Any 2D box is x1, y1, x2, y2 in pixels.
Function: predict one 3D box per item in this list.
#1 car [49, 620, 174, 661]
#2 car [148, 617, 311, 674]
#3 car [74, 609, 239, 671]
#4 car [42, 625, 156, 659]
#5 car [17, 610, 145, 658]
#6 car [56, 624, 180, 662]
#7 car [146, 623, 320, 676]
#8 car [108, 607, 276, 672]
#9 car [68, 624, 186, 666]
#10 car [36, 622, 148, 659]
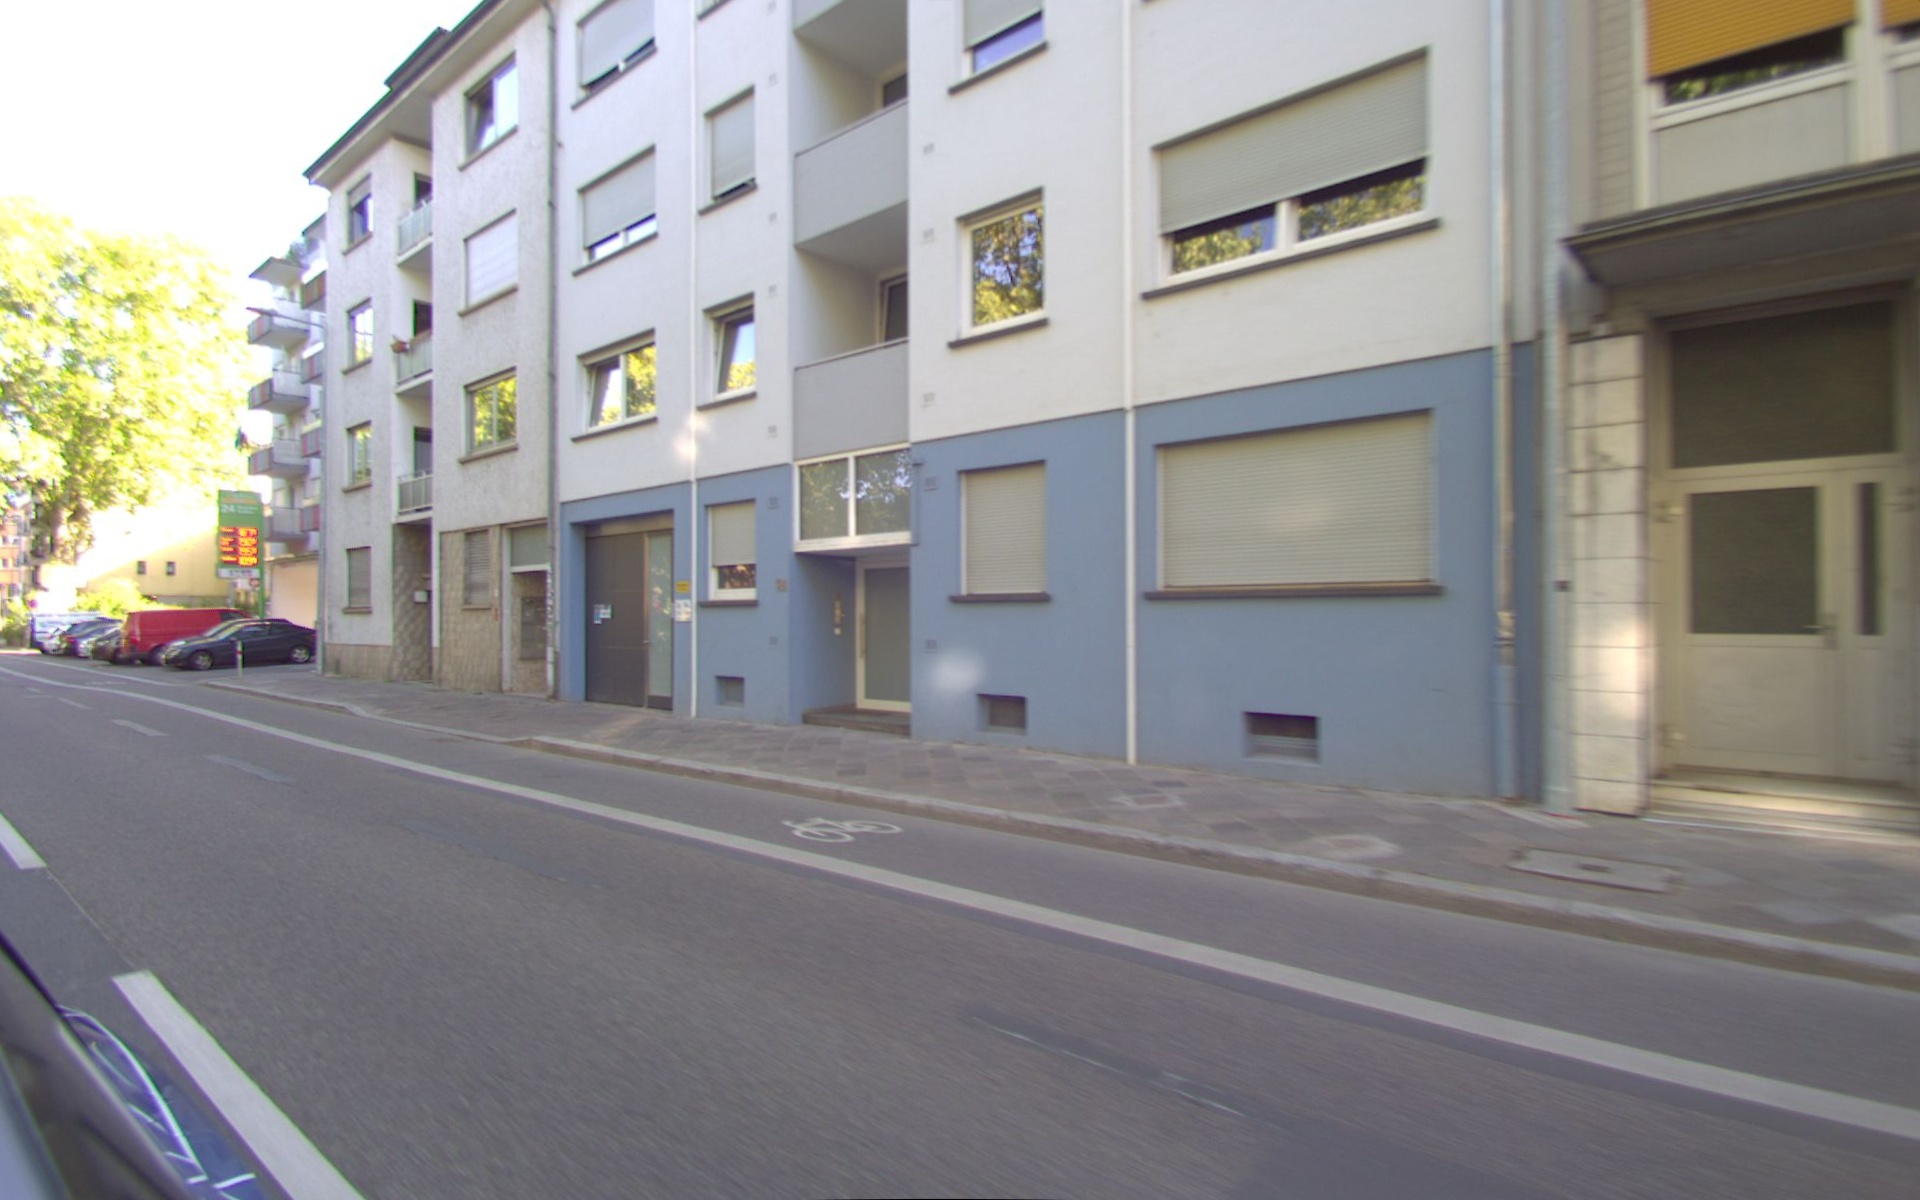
[{"bbox_3d":[-39.123,1.836,46.735,2.027,1.696,4.150,-2,0,41],"label":"car"},{"bbox_3d":[-24.602,1.482,34.188,1.886,1.575,4.129,-2,1,41],"label":"car"},{"bbox_3d":[-29.702,1.422,37.506,2.056,1.966,4.475,-2,1,41],"label":"car"},{"bbox_3d":[-41.078,1.978,48.341,1.852,1.444,3.945,-2,0,41],"label":"car"},{"bbox_3d":[-45.996,1.730,53.026,2.139,2.233,4.794,-2,0,41],"label":"car"},{"bbox_3d":[-37.181,1.854,44.757,1.915,1.467,3.945,-2,0,41],"label":"car"},{"bbox_3d":[-23.327,1.540,32.580,2.045,1.390,4.184,-1,1,41],"label":"car"},{"bbox_3d":[-27.256,1.341,36.021,2.145,1.966,4.375,-2,1,41],"label":"car"},{"bbox_3d":[-35.573,1.874,43.268,1.830,1.524,3.647,-2,1,41],"label":"car"},{"bbox_3d":[-42.646,1.968,49.780,1.852,1.571,3.945,-2,-1,41],"label":"car"}]
